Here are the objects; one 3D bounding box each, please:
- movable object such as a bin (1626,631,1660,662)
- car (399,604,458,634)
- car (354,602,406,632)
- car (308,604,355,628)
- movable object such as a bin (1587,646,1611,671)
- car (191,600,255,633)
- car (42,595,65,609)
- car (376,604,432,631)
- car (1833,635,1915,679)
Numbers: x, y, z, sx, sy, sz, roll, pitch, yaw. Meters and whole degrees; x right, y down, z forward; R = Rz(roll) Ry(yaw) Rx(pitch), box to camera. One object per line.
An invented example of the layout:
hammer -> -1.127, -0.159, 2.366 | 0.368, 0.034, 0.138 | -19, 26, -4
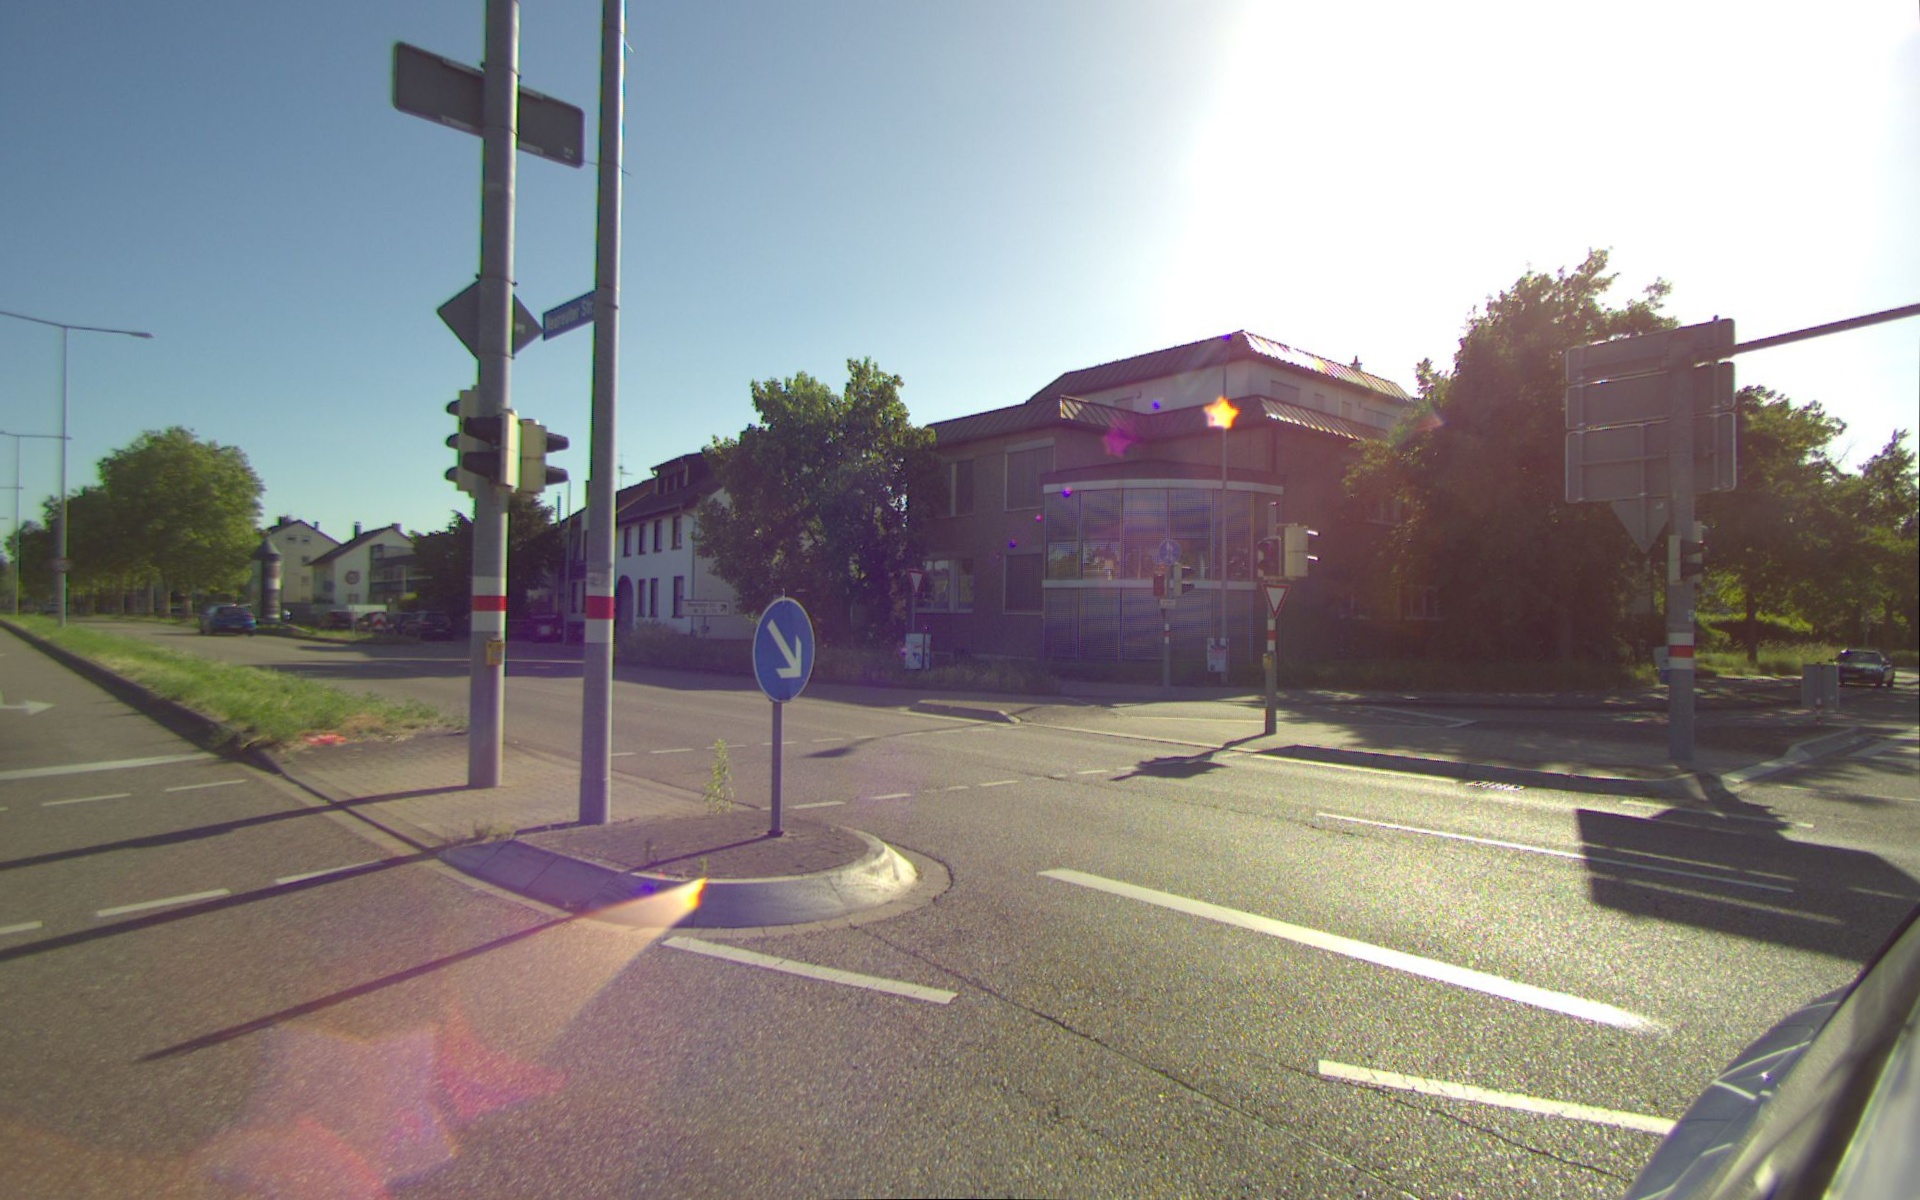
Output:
movable object such as a bin -> 30.847, 2.095, 45.707 | 0.782, 1.339, 1.089 | 2, -2, -39
car -> -30.783, 1.072, 58.568 | 1.967, 1.638, 3.989 | 2, -1, -45
car -> -37.558, 1.130, 65.514 | 1.967, 1.842, 3.988 | 3, -3, -45
car -> -44.892, 1.142, 72.260 | 1.967, 1.612, 3.988 | 3, -3, -45
movable object such as a bin -> 28.231, 2.575, 44.713 | 0.682, 1.055, 0.687 | 2, -3, -40
car -> -34.990, 0.767, 48.015 | 3.780, 1.459, 1.710 | 1, -2, 43
car -> -113.188, 0.275, 126.348 | 1.828, 1.612, 3.989 | 2, -1, -45
car -> -34.238, 1.098, 62.267 | 1.967, 1.617, 3.988 | 3, -3, -45
car -> 35.344, 2.174, 39.097 | 4.139, 1.505, 1.776 | 2, 0, -40
